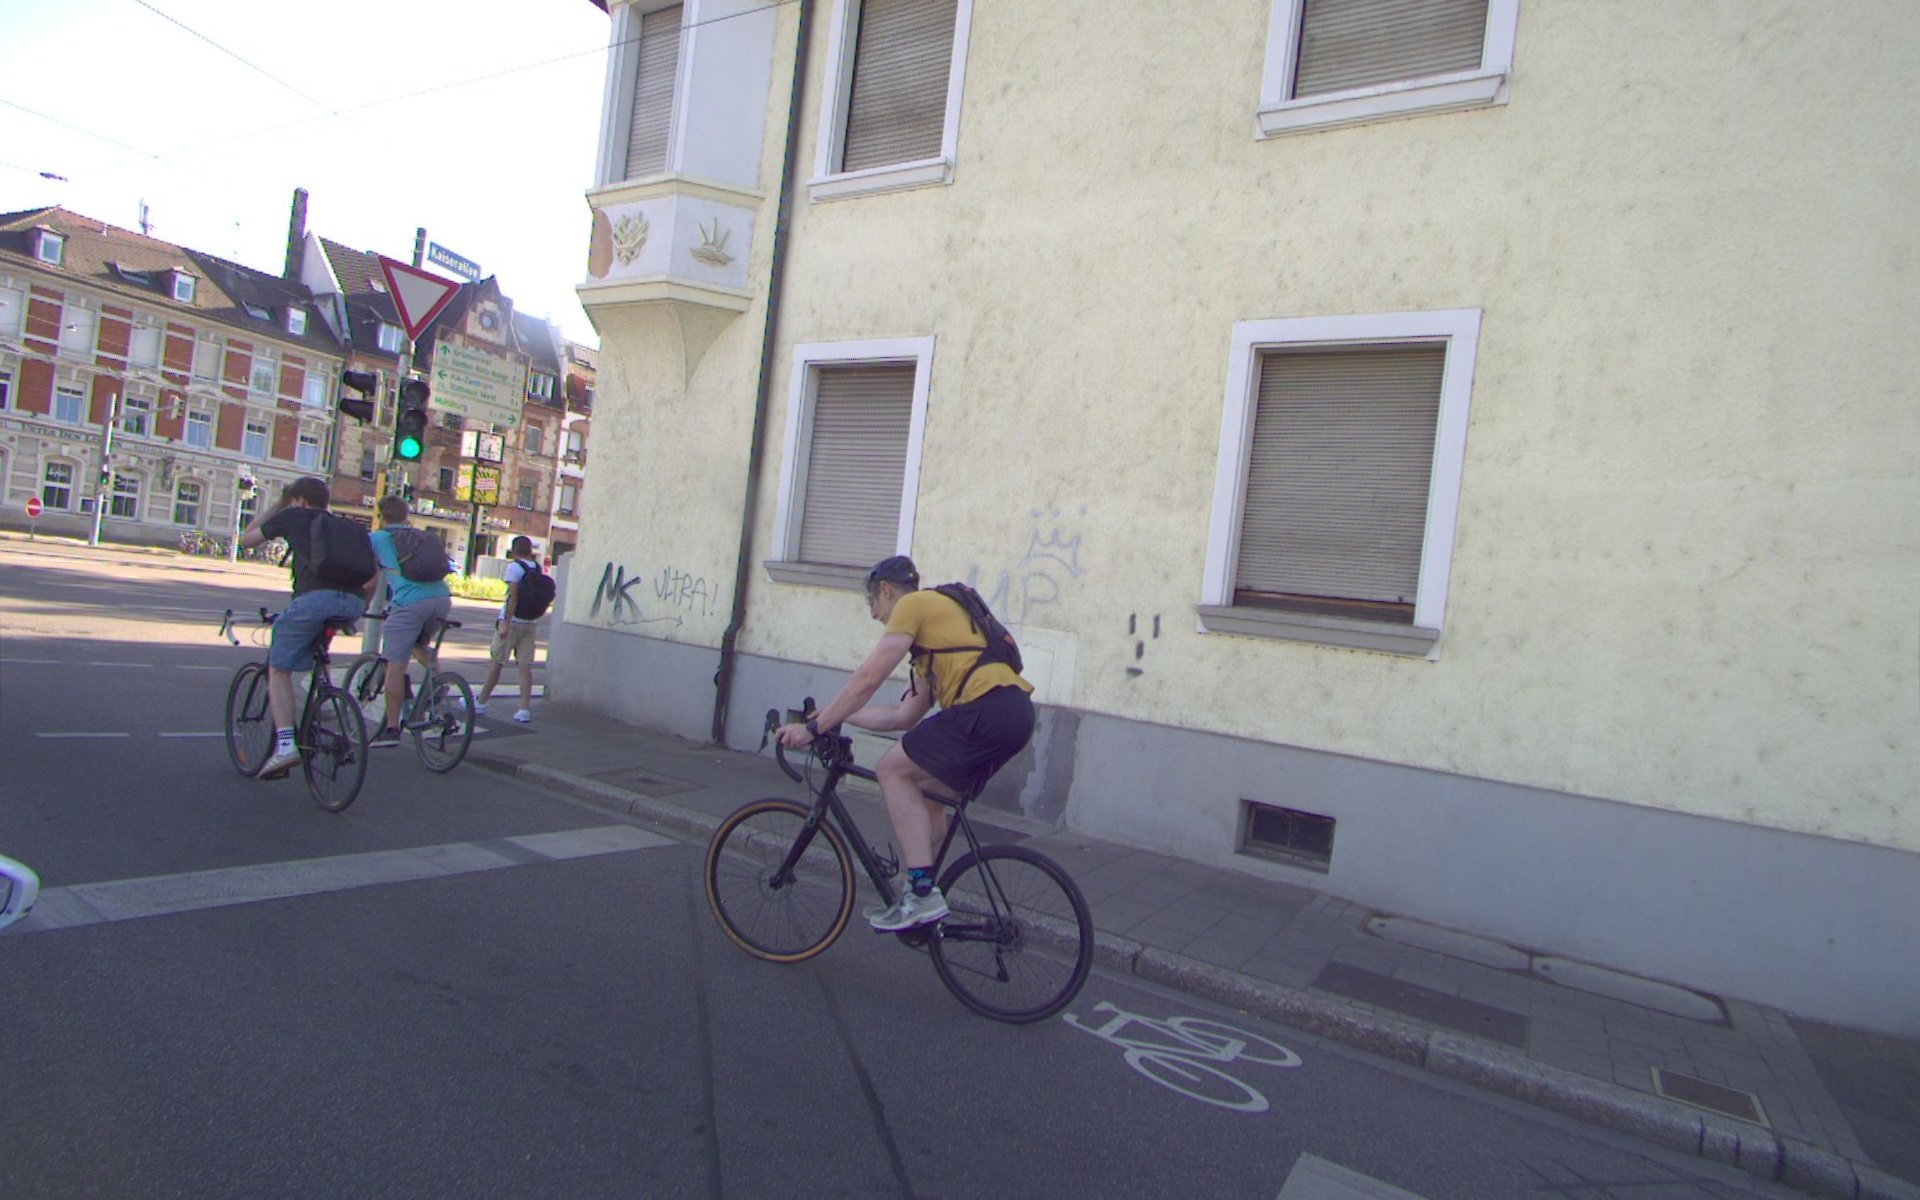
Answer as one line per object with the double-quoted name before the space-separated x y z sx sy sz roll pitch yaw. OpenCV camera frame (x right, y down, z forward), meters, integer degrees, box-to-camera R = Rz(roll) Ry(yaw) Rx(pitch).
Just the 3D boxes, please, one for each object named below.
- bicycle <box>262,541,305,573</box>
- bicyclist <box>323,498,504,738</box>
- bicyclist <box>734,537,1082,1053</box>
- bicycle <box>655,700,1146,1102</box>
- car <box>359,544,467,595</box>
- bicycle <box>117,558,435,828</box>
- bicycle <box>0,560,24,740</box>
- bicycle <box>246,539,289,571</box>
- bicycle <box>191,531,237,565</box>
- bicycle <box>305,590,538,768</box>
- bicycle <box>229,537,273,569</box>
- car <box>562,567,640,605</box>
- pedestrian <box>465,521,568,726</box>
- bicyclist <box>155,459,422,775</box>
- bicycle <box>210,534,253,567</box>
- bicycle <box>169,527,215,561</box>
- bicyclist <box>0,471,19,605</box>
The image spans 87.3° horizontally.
"bicycle" -32.667 -2.066 48.584 2.618 1.301 0.629 6 -1 33
"bicyclist" -4.080 0.137 7.522 0.869 1.652 0.690 6 -1 34
"bicyclist" -0.182 0.676 3.933 0.869 1.682 0.807 6 -1 32
"bicycle" -0.274 1.051 4.022 1.751 1.043 0.756 6 -2 33
"car" -25.456 -1.395 46.908 1.967 1.798 3.790 6 -2 31
"bicycle" -3.974 0.486 5.824 1.674 1.251 0.756 6 -1 30
"bicycle" -5.936 0.256 5.596 1.676 1.097 0.627 6 -1 35
"bicycle" -33.037 -2.142 47.995 2.618 1.301 0.629 6 -1 33
"bicycle" -34.186 -2.370 46.069 2.618 1.301 0.693 6 -1 33
"bicycle" -3.993 0.551 7.419 1.742 1.043 0.650 6 -1 33
"bicycle" -33.402 -2.222 47.366 2.618 1.301 0.629 6 -1 33
"car" -23.230 -0.873 65.288 1.967 1.798 4.374 6 -2 31
"pedestrian" -4.051 0.207 9.216 0.631 1.780 0.584 4 3 -7
"bicyclist" -3.829 0.095 5.763 0.868 1.625 0.807 6 -1 30
"bicycle" -33.820 -2.297 46.693 2.618 1.301 0.629 6 -1 33
"bicycle" -34.621 -2.539 45.337 2.618 1.301 0.693 6 -1 33
"bicyclist" -5.873 -0.038 5.592 0.869 1.512 0.639 9 0 36
